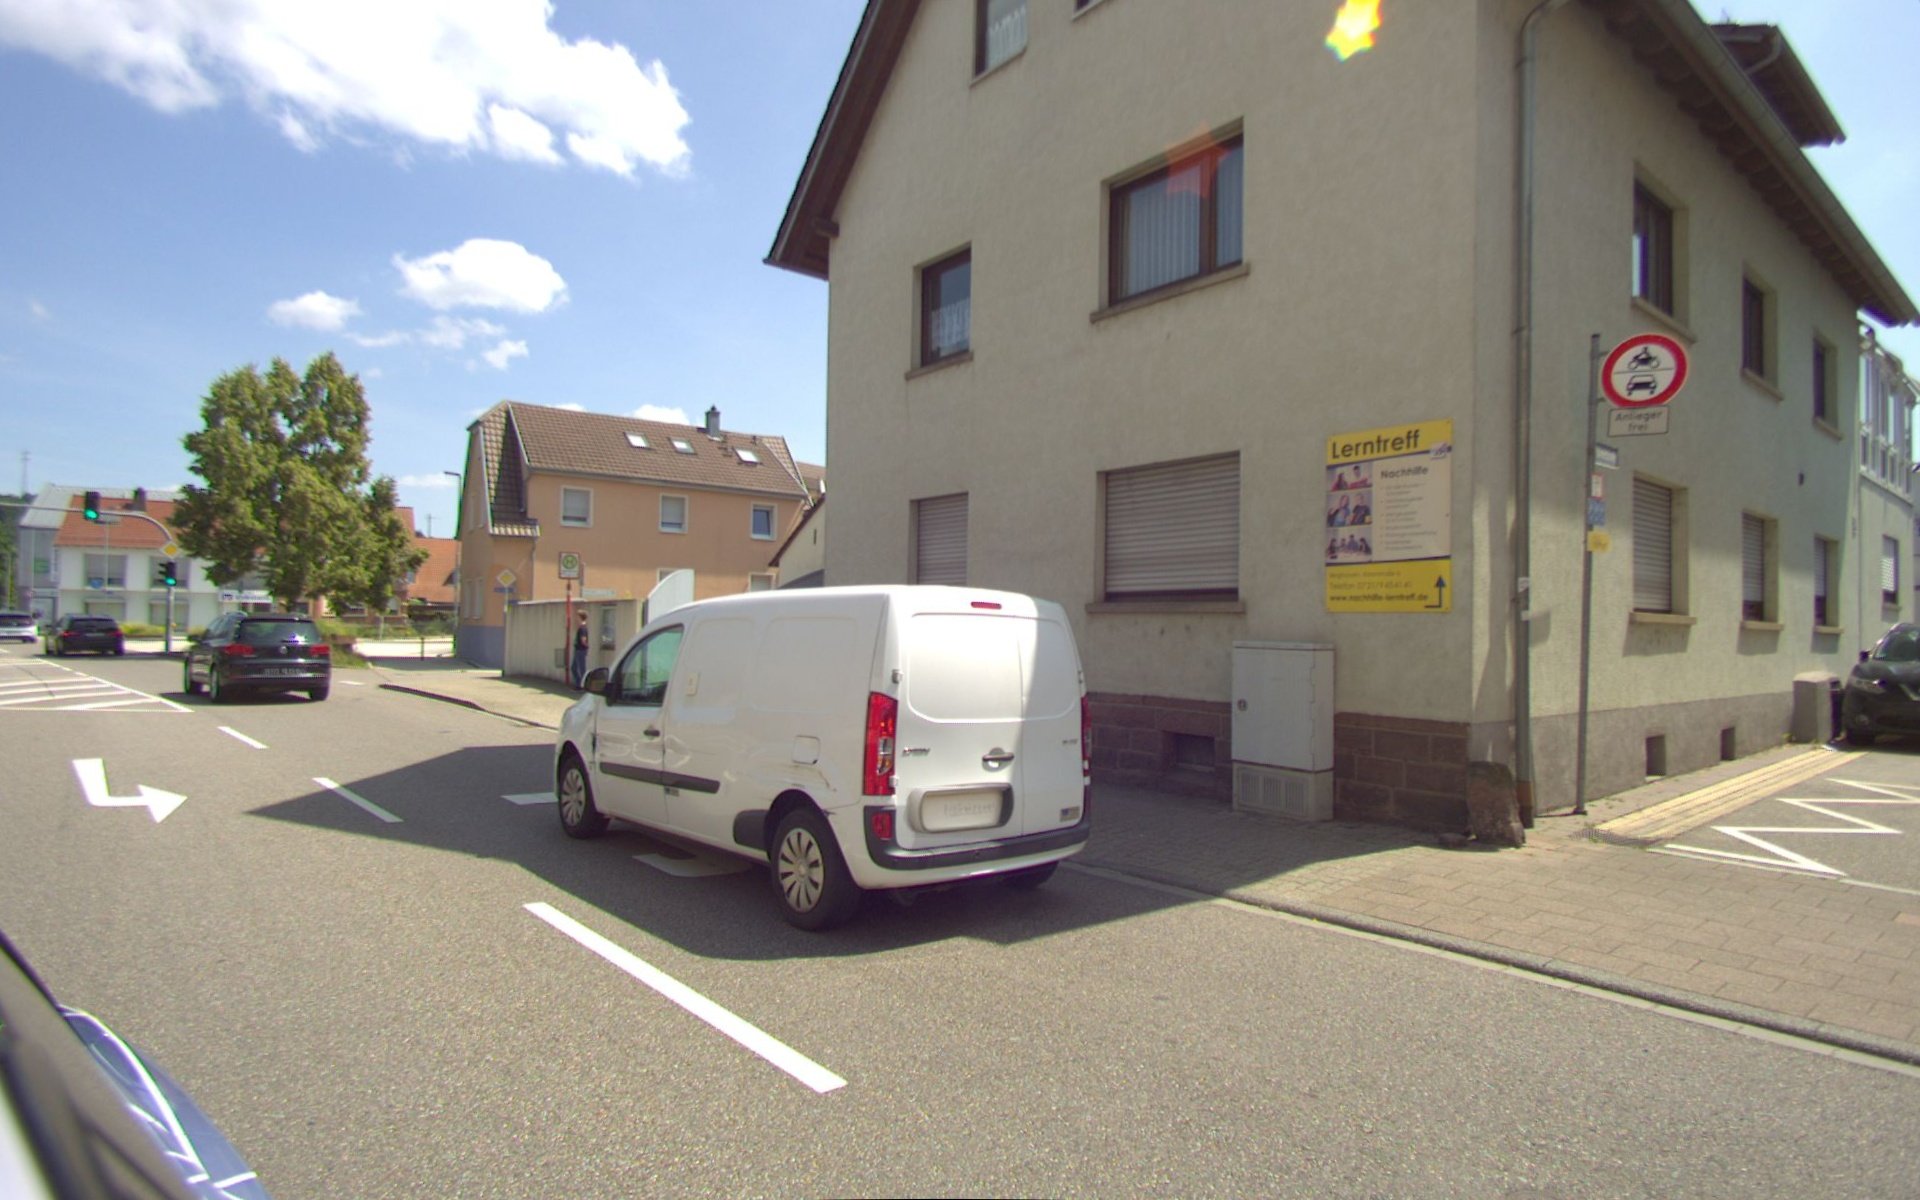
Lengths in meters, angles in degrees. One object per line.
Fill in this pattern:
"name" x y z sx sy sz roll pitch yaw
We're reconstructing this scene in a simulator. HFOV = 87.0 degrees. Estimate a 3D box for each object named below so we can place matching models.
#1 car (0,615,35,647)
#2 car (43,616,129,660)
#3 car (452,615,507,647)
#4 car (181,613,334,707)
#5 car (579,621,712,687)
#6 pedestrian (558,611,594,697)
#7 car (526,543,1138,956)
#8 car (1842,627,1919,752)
"car" -46.254 1.490 48.983 4.531 1.467 1.761 -1 -3 43
"car" -30.961 1.313 35.795 4.531 1.467 1.761 -1 -3 43
"car" -39.857 2.560 84.108 1.973 2.464 5.208 -1 0 1
"car" -13.575 1.092 19.473 1.728 1.623 4.002 3 -3 -45
"car" -8.420 1.392 26.928 1.728 1.623 4.002 3 -3 -45
"pedestrian" -8.099 1.128 21.361 0.476 1.777 0.467 0 -2 28
"car" -1.195 0.733 6.851 1.761 1.844 4.606 4 -3 -42
"car" 13.027 1.106 13.107 3.938 1.475 1.894 2 -3 -41
